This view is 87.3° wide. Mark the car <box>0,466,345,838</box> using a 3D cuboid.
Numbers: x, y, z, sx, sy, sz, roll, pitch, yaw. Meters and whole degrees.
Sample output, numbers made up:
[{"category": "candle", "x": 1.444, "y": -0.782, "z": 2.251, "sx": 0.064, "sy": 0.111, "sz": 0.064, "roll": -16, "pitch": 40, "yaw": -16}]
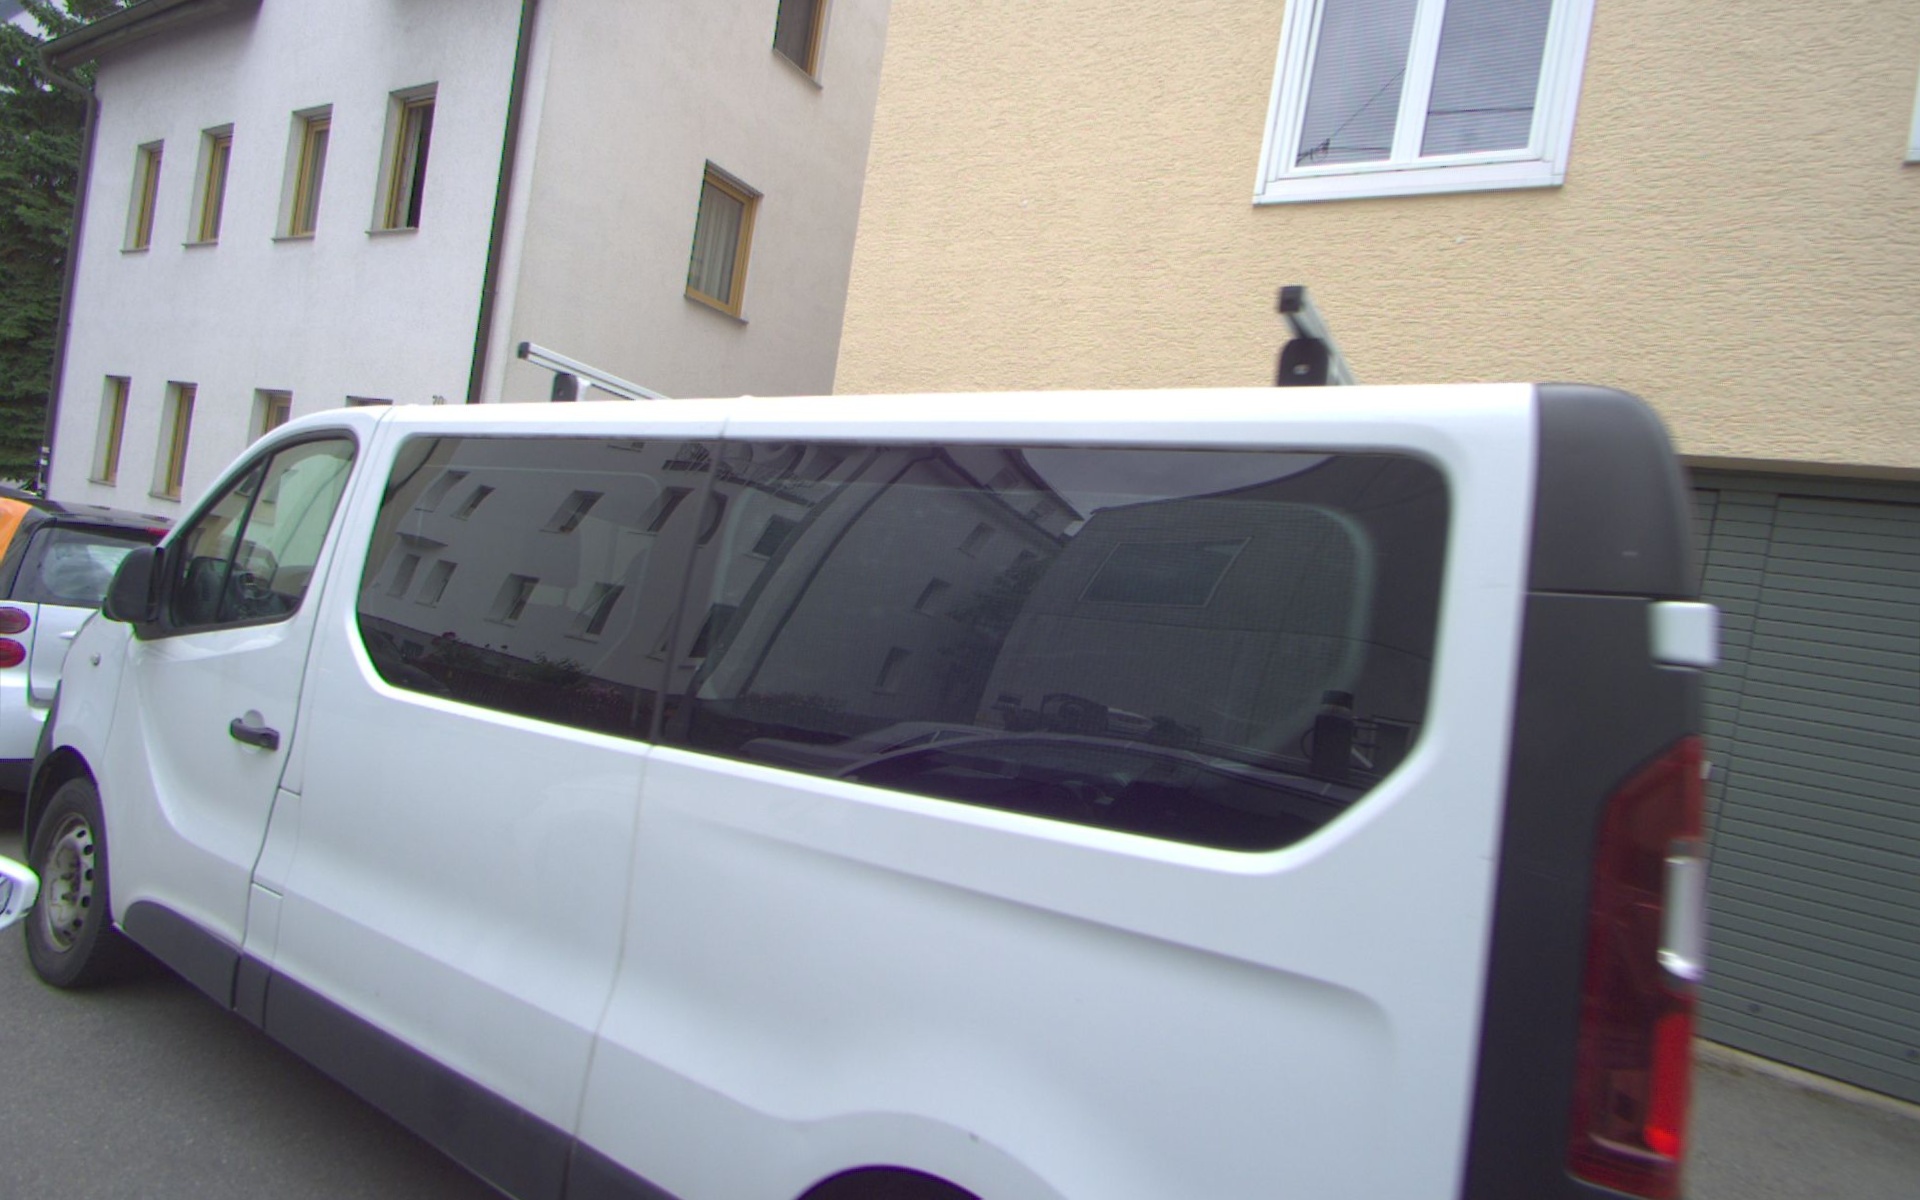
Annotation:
[{"category": "car", "x": -5.004, "y": 0.155, "z": 5.591, "sx": 2.745, "sy": 1.615, "sz": 1.489, "roll": 7, "pitch": -1, "yaw": 32}]

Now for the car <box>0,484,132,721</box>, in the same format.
[{"category": "car", "x": -8.541, "y": -0.243, "z": 7.811, "sx": 4.422, "sy": 1.615, "sz": 1.717, "roll": 7, "pitch": -2, "yaw": 30}]

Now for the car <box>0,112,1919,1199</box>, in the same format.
[{"category": "car", "x": -0.835, "y": 0.447, "z": 2.894, "sx": 5.637, "sy": 2.053, "sz": 1.909, "roll": 7, "pitch": -1, "yaw": 32}]
